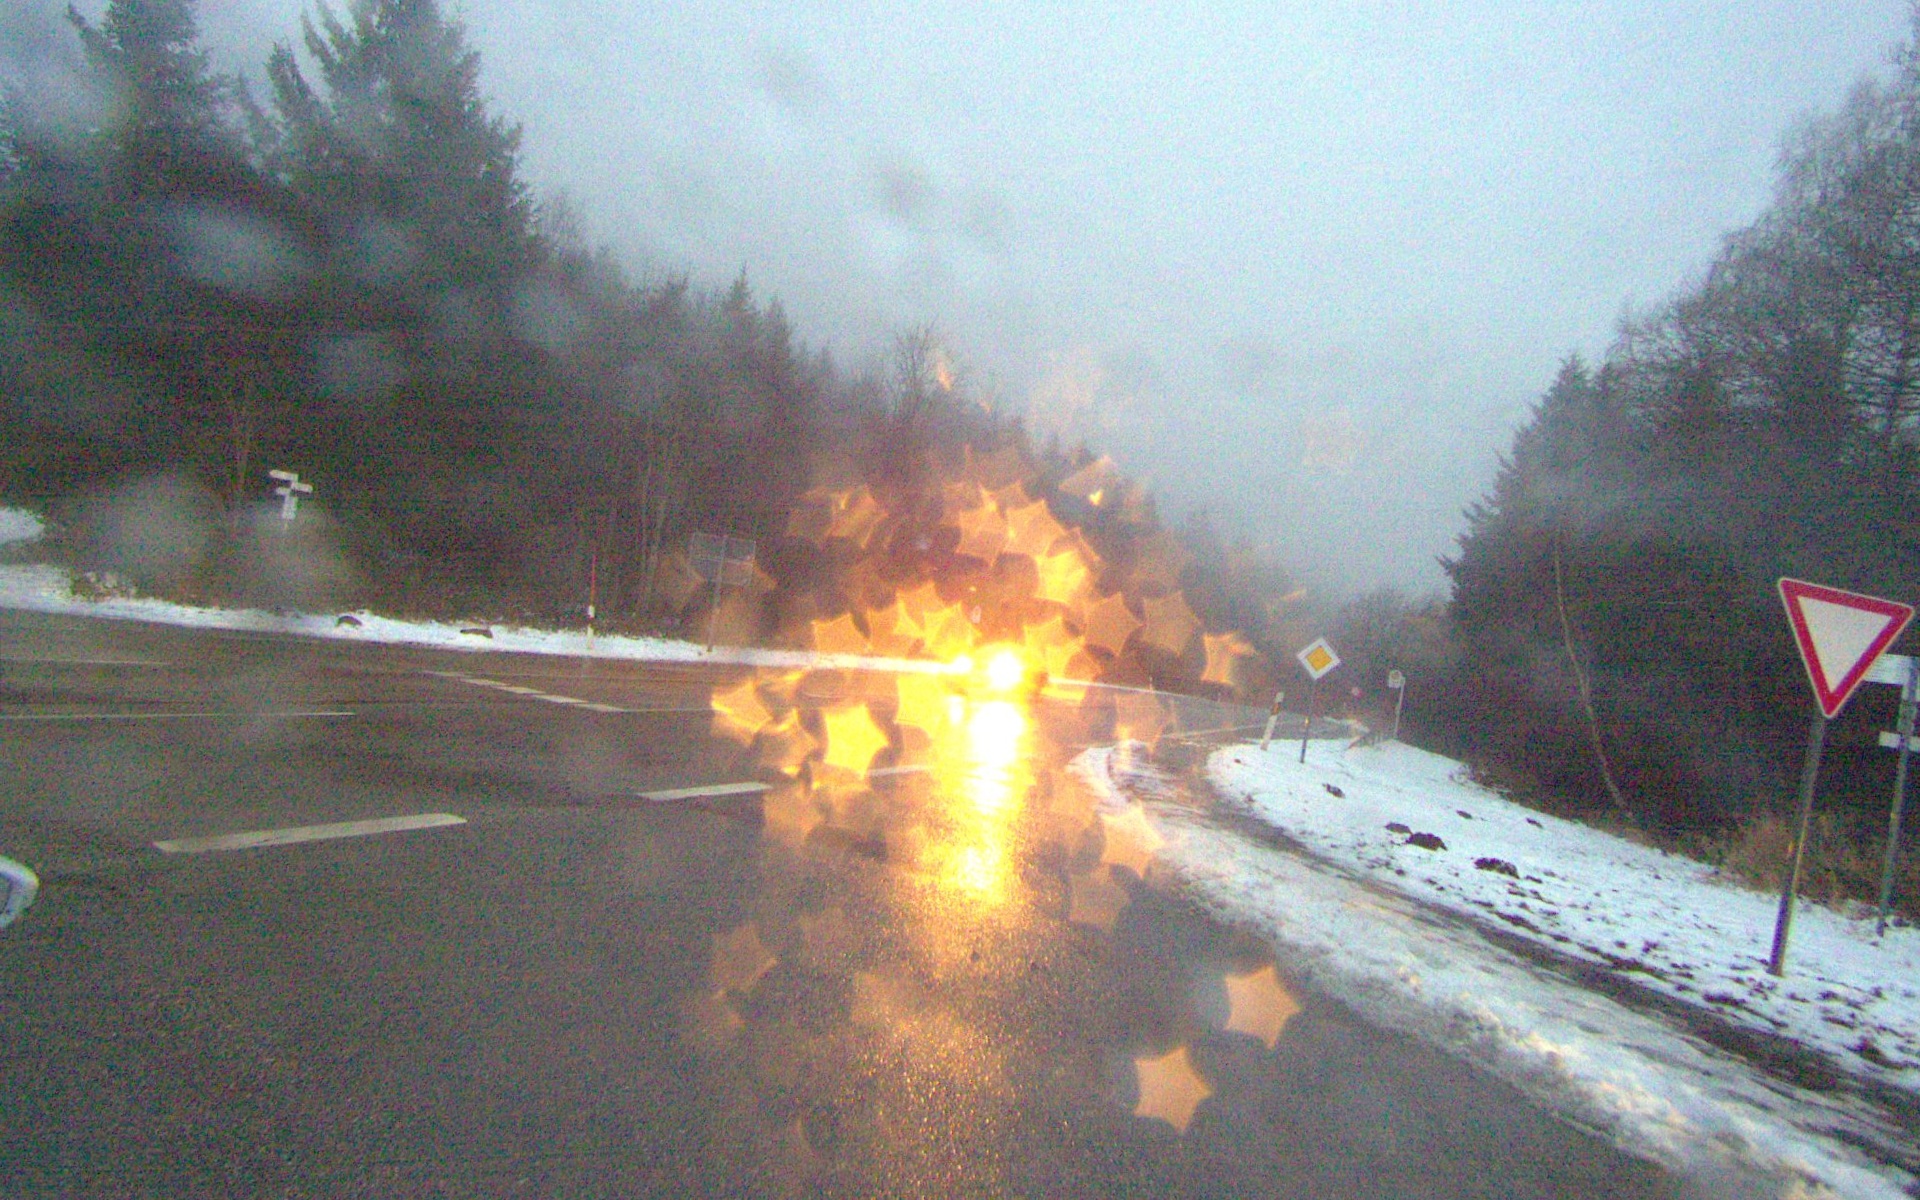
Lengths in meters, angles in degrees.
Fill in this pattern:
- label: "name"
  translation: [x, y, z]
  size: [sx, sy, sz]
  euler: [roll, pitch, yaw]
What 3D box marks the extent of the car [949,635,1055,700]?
- label: "car"
  translation: [1.206, 1.864, 27.314]
  size: [1.549, 1.469, 3.413]
  euler: [7, -2, 25]
